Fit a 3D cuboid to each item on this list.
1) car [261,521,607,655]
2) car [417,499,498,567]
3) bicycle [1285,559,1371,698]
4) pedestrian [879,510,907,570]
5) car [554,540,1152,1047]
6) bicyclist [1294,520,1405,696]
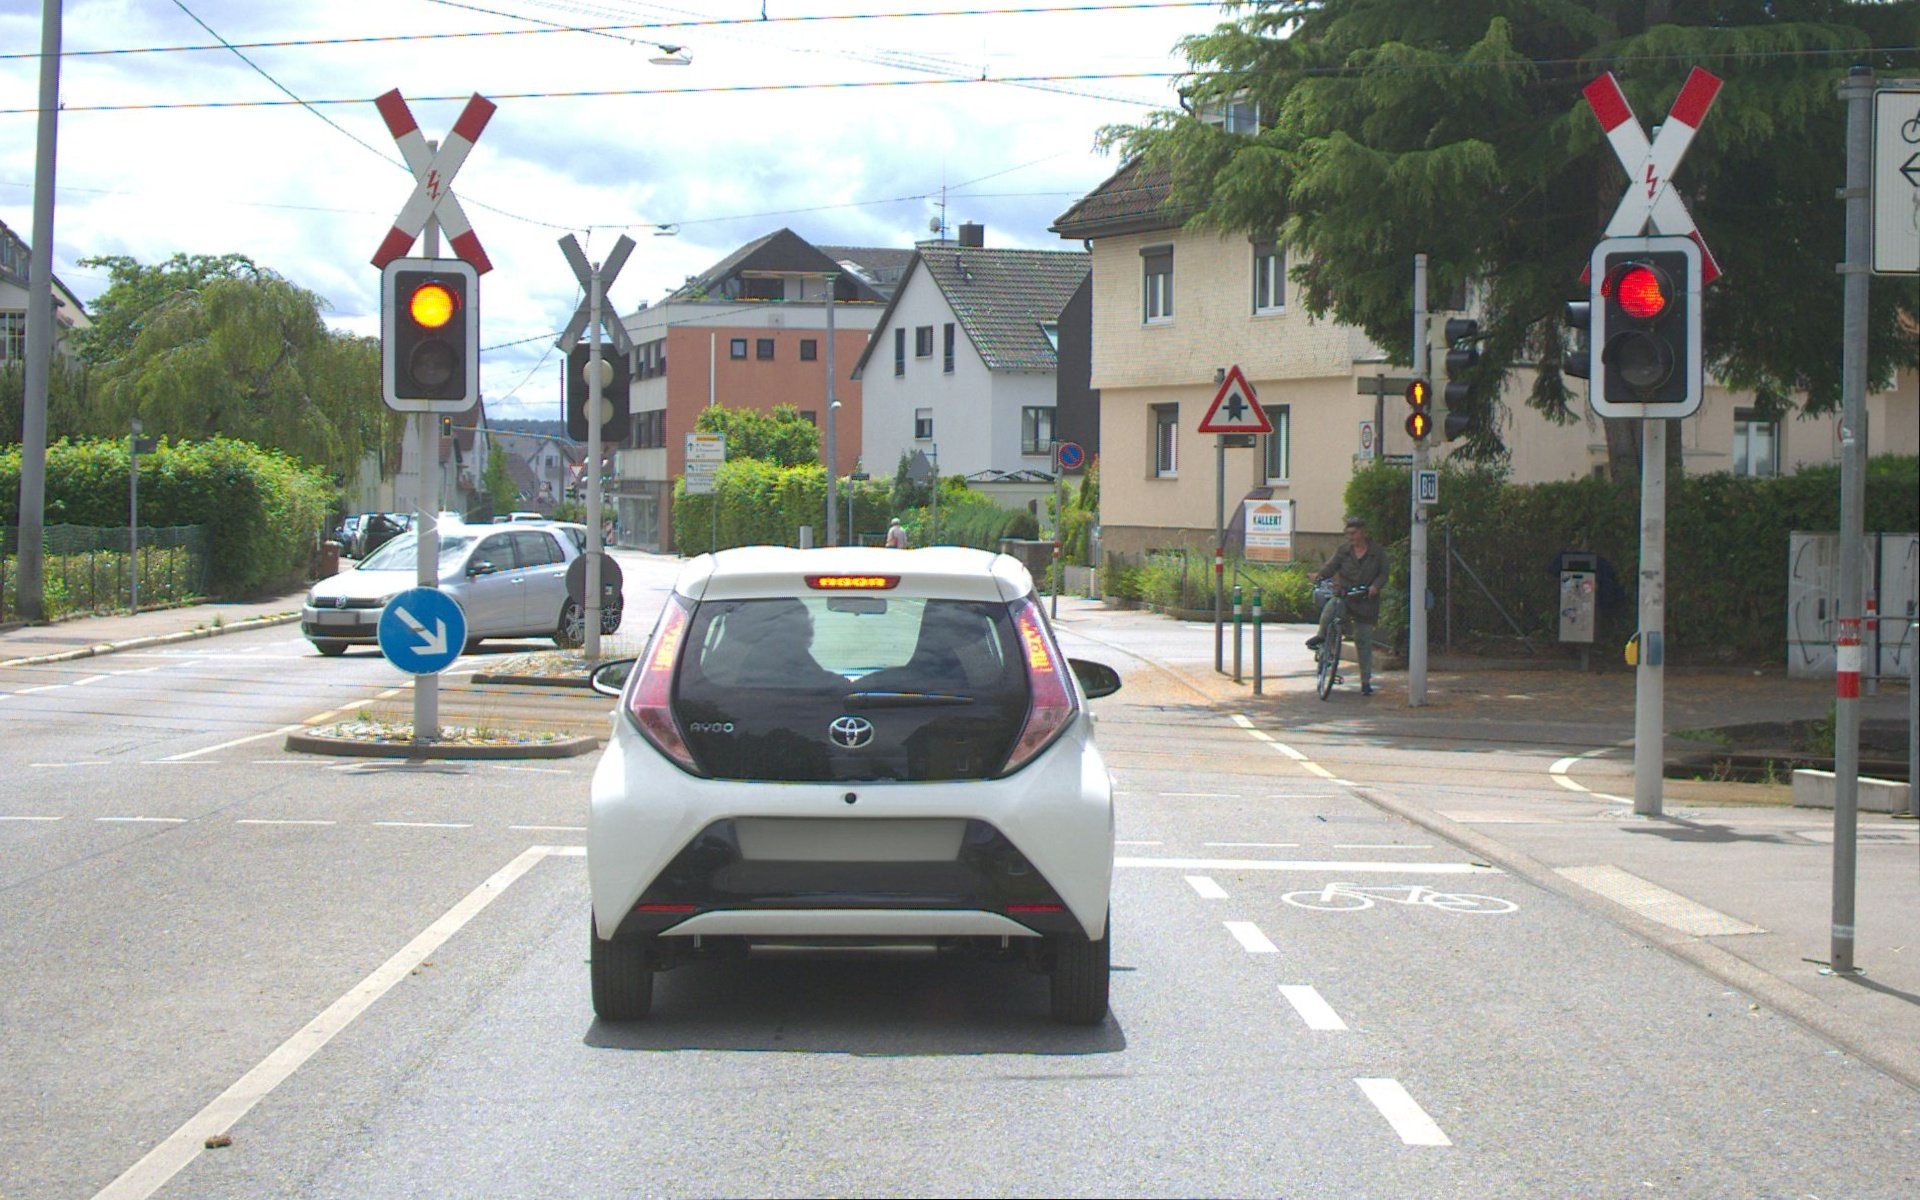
[{"bbox_3d":[-6.070,-0.148,40.130,1.908,1.436,4.092,2,1,28],"label":"car"},{"bbox_3d":[-13.335,-1.791,91.357,1.993,1.713,4.001,1,1,-7],"label":"car"},{"bbox_3d":[3.408,0.249,31.934,0.457,1.168,1.480,-2,4,-6],"label":"bicycle"},{"bbox_3d":[-1.803,-1.615,92.626,0.726,1.571,0.803,2,1,-1],"label":"pedestrian"},{"bbox_3d":[-0.442,0.542,11.946,1.721,1.437,3.709,2,1,-4],"label":"car"},{"bbox_3d":[3.606,0.064,31.861,0.840,1.548,0.756,-2,4,-6],"label":"bicyclist"}]
